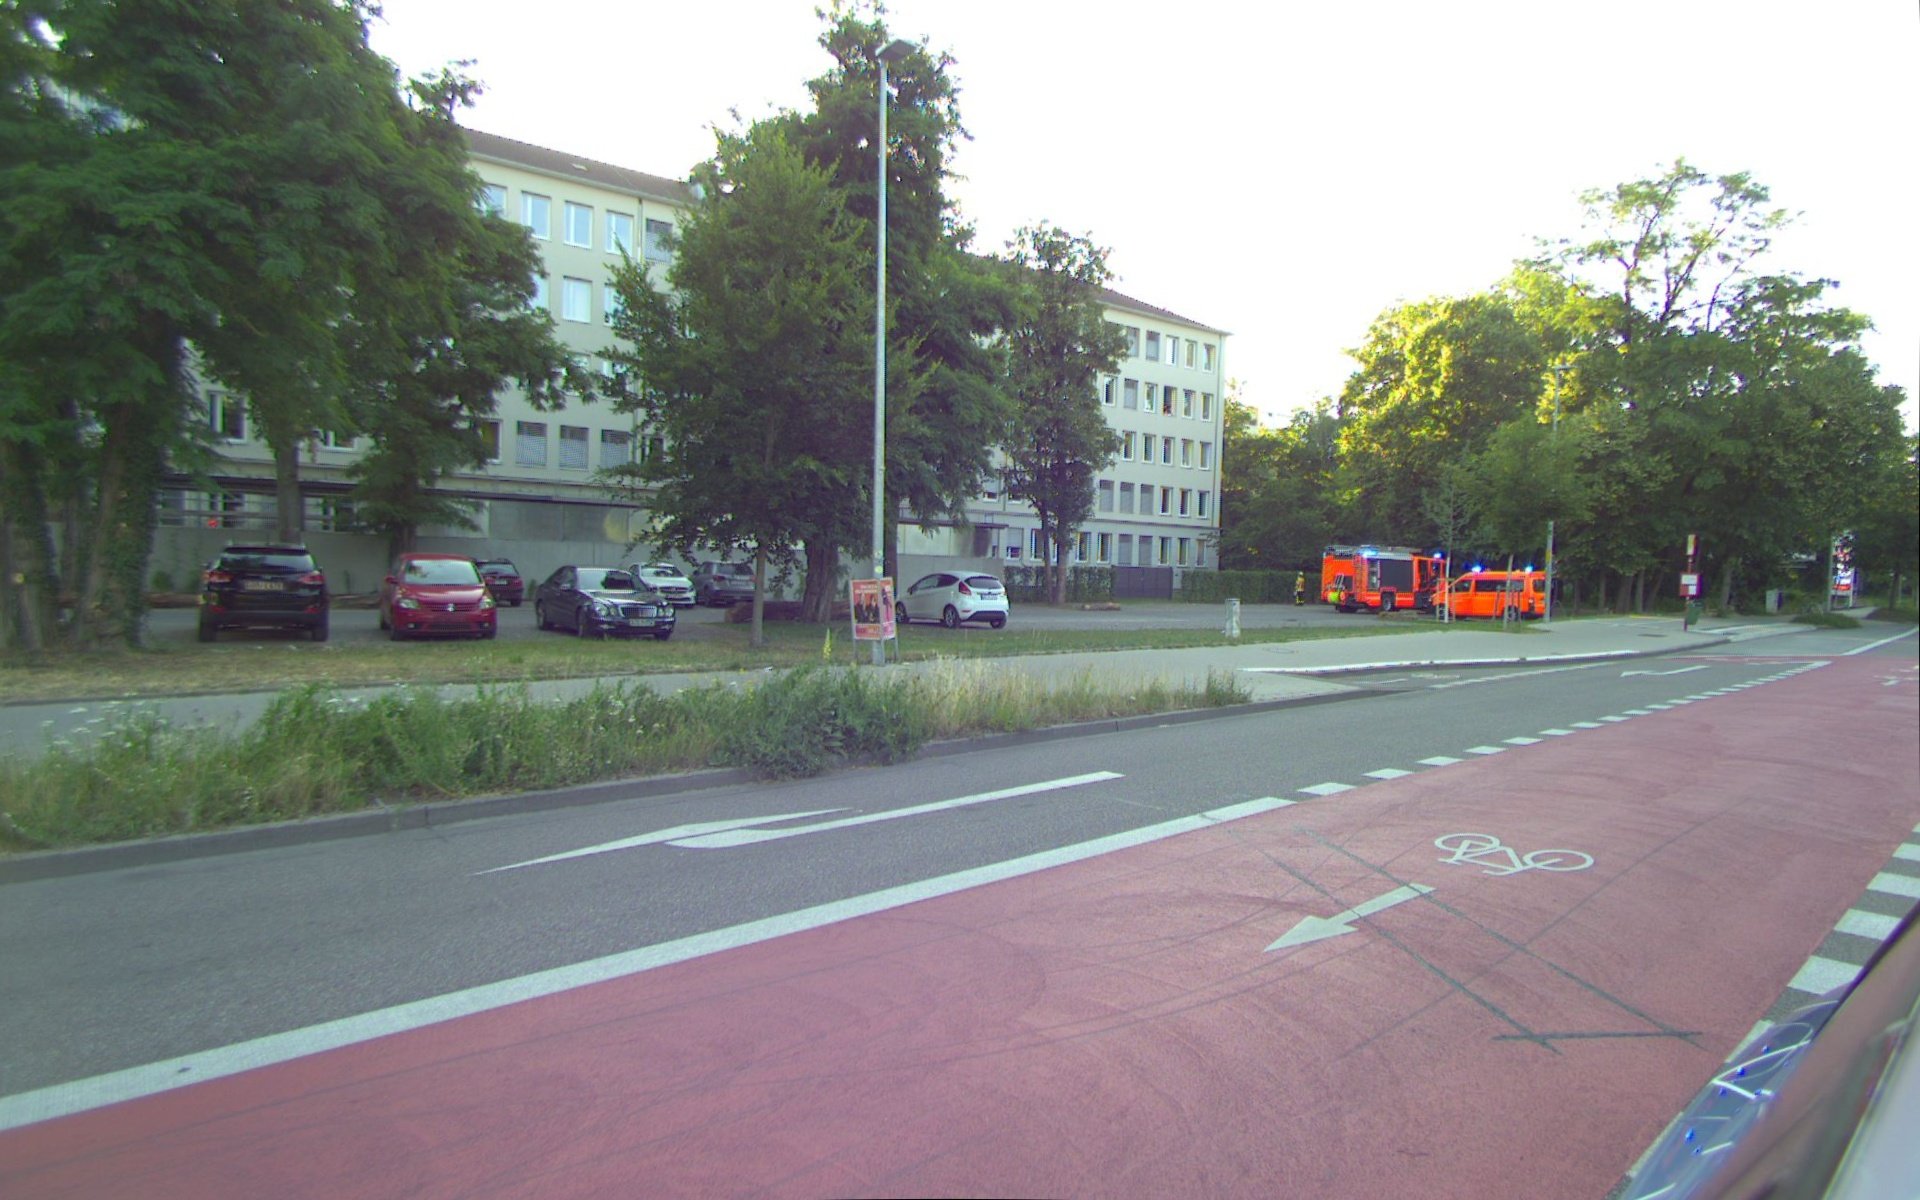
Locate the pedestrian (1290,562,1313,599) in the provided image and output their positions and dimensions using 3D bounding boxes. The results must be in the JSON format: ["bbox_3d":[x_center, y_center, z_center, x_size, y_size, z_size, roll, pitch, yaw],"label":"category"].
[{"bbox_3d":[18.752,-1.074,55.570,0.810,2.038,0.774,0,2,-32],"label":"pedestrian"}]

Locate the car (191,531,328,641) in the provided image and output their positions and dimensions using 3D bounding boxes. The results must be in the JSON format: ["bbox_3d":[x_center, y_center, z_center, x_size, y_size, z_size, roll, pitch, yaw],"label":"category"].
[{"bbox_3d":[-12.394,-0.278,17.893,1.802,1.715,3.910,0,1,-36],"label":"car"}]

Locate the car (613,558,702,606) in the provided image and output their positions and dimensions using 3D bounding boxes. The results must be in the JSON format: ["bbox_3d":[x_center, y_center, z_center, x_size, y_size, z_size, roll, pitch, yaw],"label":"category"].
[{"bbox_3d":[-10.140,-0.624,33.730,1.798,1.494,4.002,0,1,-33],"label":"car"}]

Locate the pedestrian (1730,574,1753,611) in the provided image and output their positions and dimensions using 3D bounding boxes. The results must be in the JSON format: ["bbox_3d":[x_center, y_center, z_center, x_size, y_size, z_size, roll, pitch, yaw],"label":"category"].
[{"bbox_3d":[43.434,-0.422,56.240,0.714,2.038,0.693,2,2,11],"label":"pedestrian"}]

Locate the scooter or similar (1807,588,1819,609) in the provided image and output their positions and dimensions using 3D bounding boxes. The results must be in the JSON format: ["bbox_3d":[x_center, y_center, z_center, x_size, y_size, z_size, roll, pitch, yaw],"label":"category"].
[{"bbox_3d":[53.222,-0.100,63.115,0.482,1.297,1.213,5,3,40],"label":"scooter or similar"}]

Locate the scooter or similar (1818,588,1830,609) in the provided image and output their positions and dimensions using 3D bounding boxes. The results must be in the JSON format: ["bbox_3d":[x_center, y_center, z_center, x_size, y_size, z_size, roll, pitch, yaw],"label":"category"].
[{"bbox_3d":[54.816,-0.086,64.210,0.482,1.297,1.123,5,3,41],"label":"scooter or similar"}]

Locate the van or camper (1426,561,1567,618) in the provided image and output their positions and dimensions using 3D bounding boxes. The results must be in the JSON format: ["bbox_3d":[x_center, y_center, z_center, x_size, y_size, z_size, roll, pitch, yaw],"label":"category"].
[{"bbox_3d":[22.938,-0.493,43.439,2.251,2.272,4.831,0,1,-34],"label":"van or camper"}]

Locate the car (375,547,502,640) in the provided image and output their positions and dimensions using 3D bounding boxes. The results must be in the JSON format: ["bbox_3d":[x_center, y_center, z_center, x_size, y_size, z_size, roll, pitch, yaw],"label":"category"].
[{"bbox_3d":[-10.151,-0.193,19.552,1.751,1.580,4.003,0,2,-34],"label":"car"}]

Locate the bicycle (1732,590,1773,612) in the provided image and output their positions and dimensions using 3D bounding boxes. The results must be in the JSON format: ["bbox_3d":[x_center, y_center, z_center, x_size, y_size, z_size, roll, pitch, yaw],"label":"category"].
[{"bbox_3d":[44.054,0.063,56.250,0.818,1.111,1.966,2,2,6],"label":"bicycle"}]

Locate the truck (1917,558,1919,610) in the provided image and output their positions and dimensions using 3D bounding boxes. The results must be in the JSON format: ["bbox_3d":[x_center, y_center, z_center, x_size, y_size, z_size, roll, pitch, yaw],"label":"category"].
[{"bbox_3d":[72.150,-1.789,64.634,14.891,5.642,5.129,2,2,19],"label":"truck"}]

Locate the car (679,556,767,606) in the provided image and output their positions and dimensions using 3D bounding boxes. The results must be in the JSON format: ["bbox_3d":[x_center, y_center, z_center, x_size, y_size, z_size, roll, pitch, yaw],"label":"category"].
[{"bbox_3d":[-8.350,-0.689,35.426,1.875,1.636,4.004,-1,2,-32],"label":"car"}]

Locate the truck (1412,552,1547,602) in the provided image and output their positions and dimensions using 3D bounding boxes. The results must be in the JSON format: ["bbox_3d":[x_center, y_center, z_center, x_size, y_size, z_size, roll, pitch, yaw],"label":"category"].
[{"bbox_3d":[36.661,-1.726,71.865,2.703,3.250,8.683,1,2,-24],"label":"truck"}]

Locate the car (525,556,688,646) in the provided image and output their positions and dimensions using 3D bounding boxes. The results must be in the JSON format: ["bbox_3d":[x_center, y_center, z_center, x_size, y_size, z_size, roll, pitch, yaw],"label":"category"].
[{"bbox_3d":[-7.442,-0.083,21.013,1.866,1.465,4.584,-2,6,-37],"label":"car"}]

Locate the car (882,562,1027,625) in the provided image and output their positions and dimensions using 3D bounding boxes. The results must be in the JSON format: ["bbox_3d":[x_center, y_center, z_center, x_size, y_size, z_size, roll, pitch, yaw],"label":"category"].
[{"bbox_3d":[-0.221,-0.217,27.054,1.876,1.556,3.999,0,2,-37],"label":"car"}]

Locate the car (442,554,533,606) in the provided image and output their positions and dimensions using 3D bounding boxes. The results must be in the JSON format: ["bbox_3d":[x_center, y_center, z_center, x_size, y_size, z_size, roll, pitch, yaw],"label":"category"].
[{"bbox_3d":[-14.460,-0.628,30.874,1.866,1.460,4.001,0,2,-35],"label":"car"}]

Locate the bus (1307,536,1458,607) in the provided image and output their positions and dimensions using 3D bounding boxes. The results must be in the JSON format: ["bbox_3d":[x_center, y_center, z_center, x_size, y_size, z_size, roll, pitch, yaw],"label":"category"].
[{"bbox_3d":[20.749,-1.365,49.542,7.810,3.236,2.999,0,1,-34],"label":"bus"}]
